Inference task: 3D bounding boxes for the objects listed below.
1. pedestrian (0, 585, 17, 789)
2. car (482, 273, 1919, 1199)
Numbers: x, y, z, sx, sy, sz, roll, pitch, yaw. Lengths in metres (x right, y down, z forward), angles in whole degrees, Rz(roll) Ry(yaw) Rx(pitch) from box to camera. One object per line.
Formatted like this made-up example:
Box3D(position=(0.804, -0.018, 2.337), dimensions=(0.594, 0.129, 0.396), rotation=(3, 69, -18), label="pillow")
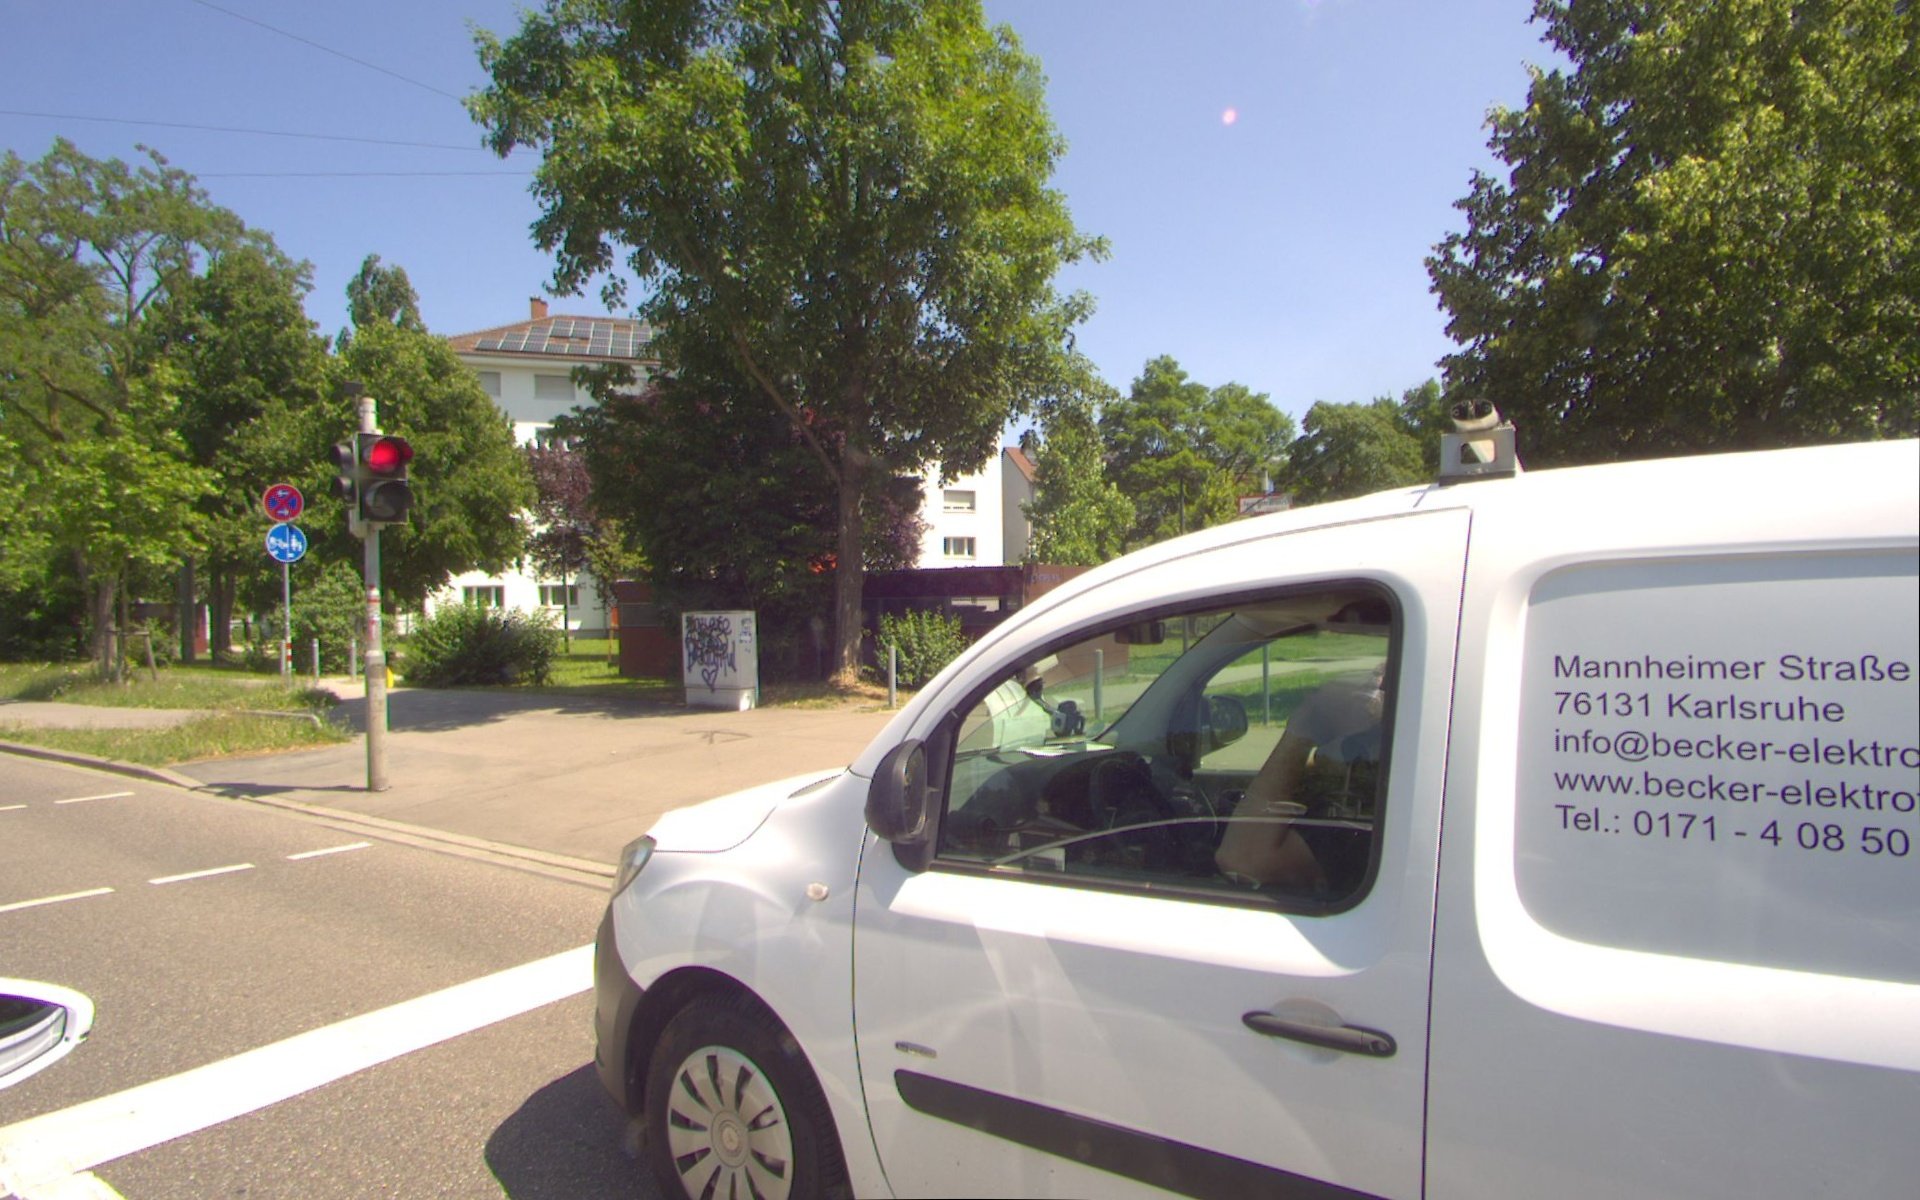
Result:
Box3D(position=(-8.988, 0.761, 8.548), dimensions=(1.170, 1.800, 0.836), rotation=(0, -2, -27), label="pedestrian")
Box3D(position=(1.119, 0.569, 2.306), dimensions=(4.384, 1.850, 1.990), rotation=(-1, 0, 32), label="car")
